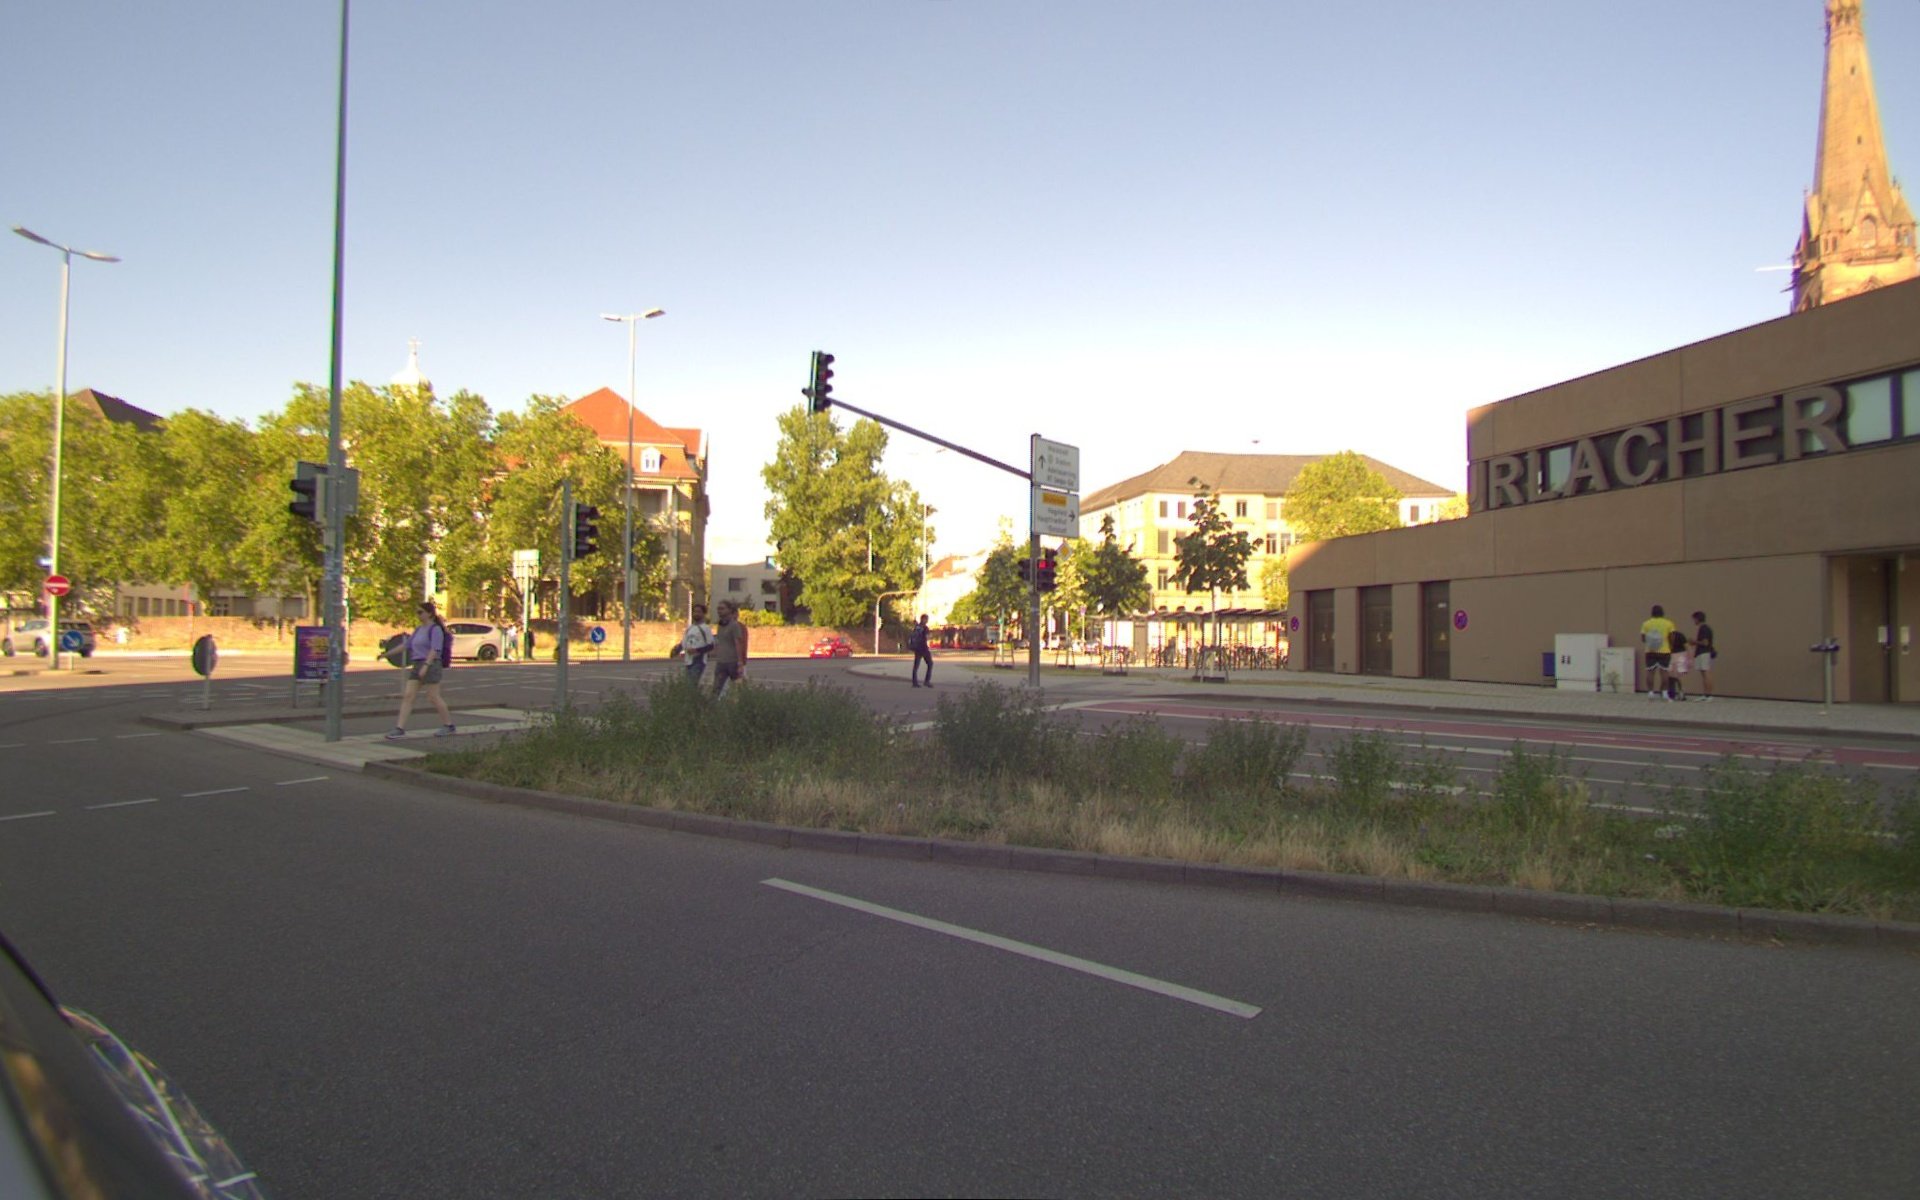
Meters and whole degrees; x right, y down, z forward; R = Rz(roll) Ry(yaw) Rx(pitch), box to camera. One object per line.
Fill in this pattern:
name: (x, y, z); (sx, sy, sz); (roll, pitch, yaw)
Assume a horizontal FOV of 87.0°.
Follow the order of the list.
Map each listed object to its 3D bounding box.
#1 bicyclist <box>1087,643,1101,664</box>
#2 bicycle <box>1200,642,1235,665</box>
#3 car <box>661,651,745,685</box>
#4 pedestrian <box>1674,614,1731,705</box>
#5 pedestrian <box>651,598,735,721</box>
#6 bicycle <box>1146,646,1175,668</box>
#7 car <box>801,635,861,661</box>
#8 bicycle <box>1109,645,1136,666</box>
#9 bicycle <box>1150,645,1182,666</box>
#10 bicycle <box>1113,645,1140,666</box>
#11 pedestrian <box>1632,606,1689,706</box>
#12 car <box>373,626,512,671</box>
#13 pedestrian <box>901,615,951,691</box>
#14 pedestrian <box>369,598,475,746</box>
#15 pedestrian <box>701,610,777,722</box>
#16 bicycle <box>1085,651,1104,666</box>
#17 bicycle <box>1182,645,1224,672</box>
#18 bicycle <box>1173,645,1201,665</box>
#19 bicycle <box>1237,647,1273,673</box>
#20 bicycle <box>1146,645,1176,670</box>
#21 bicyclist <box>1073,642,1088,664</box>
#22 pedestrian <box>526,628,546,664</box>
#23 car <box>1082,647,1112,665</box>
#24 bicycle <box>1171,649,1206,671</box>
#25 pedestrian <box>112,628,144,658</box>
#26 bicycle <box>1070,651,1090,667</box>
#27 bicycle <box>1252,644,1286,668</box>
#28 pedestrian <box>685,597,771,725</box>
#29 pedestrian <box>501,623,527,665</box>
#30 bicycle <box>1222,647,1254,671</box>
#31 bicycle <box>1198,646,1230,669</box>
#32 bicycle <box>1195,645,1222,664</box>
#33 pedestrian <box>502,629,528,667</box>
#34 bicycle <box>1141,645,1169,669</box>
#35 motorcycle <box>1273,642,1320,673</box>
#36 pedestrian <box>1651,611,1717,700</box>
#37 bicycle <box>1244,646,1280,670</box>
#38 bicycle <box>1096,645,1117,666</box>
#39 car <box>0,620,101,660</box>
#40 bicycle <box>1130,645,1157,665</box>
bicyclist: (10.797, 4.289, 81.492); (0.760, 1.681, 1.053); (-3, -3, 24)
bicycle: (12.744, 2.638, 50.162); (0.754, 1.051, 1.937); (-1, -2, -16)
car: (-13.329, 3.533, 52.845); (2.177, 1.598, 4.579); (-2, -3, 18)
pedestrian: (14.162, 1.125, 19.308); (0.628, 1.702, 0.552); (0, -3, -27)
pedestrian: (-3.946, 0.867, 14.994); (0.756, 1.754, 0.915); (-2, -3, 40)
bicycle: (10.588, 2.994, 53.515); (0.745, 1.062, 1.978); (-1, -1, -14)
car: (-8.463, 3.158, 66.637); (2.177, 1.598, 4.579); (-2, -3, 18)
bicycle: (8.520, 2.899, 53.123); (0.557, 1.062, 1.979); (-1, -2, -16)
bicycle: (11.453, 3.066, 56.230); (0.823, 1.062, 2.125); (-1, -1, -16)
bicycle: (9.094, 3.035, 55.314); (0.671, 1.062, 2.028); (-1, -1, -13)
pedestrian: (13.337, 1.057, 19.276); (0.707, 1.849, 0.640); (1, -4, -39)
car: (-20.707, 1.921, 40.586); (2.196, 1.697, 4.539); (-4, -4, 45)
pedestrian: (-0.784, 1.208, 23.273); (0.747, 1.698, 0.888); (-2, -3, 40)
pedestrian: (-6.717, 0.876, 12.651); (0.756, 1.754, 0.915); (-2, -3, 40)
pedestrian: (-3.605, 1.062, 16.529); (0.787, 1.754, 0.915); (-2, -3, 40)
bicycle: (10.833, 4.700, 81.536); (0.760, 1.196, 2.584); (-3, -3, 24)
bicycle: (10.492, 2.514, 43.712); (0.732, 1.114, 2.131); (-1, -3, -18)
bicycle: (12.687, 3.073, 56.590); (0.502, 1.062, 1.980); (-1, -2, -21)
bicycle: (13.016, 2.637, 44.662); (0.514, 1.051, 1.854); (-1, -2, -19)
bicycle: (9.467, 2.704, 47.719); (0.557, 1.114, 1.979); (-1, -1, -14)
bicyclist: (9.225, 4.035, 77.467); (0.760, 1.681, 1.053); (-3, -3, 24)
pedestrian: (-20.322, 2.212, 48.461); (0.779, 1.665, 0.715); (3, 0, -23)
car: (12.408, 5.057, 91.240); (1.794, 1.455, 3.949); (-1, -1, 21)
bicycle: (11.295, 2.958, 50.102); (0.851, 1.051, 1.937); (-1, -2, -16)
pedestrian: (-43.723, 2.249, 53.166); (0.917, 1.548, 0.966); (-1, -3, 25)
bicycle: (9.216, 4.492, 77.398); (0.760, 1.196, 2.584); (-3, -3, 24)
bicycle: (15.305, 2.776, 50.214); (0.557, 1.097, 2.077); (-1, -1, -15)
pedestrian: (-3.316, 0.859, 14.472); (0.756, 1.754, 0.915); (-2, -3, 40)
pedestrian: (-20.776, 2.051, 47.112); (0.858, 1.908, 0.714); (3, -1, -38)
bicycle: (13.209, 2.791, 48.128); (0.594, 1.051, 2.038); (-1, -1, -10)
bicycle: (12.007, 2.713, 47.884); (0.594, 1.051, 2.039); (-1, -1, -13)
bicycle: (14.152, 3.085, 57.627); (0.489, 1.062, 1.979); (-1, -2, -17)
pedestrian: (-20.420, 2.191, 46.464); (0.858, 1.686, 0.714); (3, -1, -38)
bicycle: (9.468, 2.783, 49.249); (0.477, 1.114, 1.807); (-1, -2, -20)
motorcycle: (14.051, 2.410, 42.321); (0.708, 1.257, 2.362); (-1, -3, -12)
pedestrian: (14.534, 1.111, 20.325); (0.724, 1.744, 0.666); (-1, -3, -15)
bicycle: (14.489, 2.764, 48.599); (0.594, 1.051, 2.114); (-1, -1, -16)
bicycle: (7.902, 2.966, 54.709); (0.558, 1.062, 1.977); (-1, -1, -9)
car: (-38.891, 1.686, 42.912); (4.338, 1.633, 2.138); (-1, -2, 26)
bicycle: (10.046, 3.010, 55.449); (0.671, 1.062, 1.941); (-1, -1, -13)
